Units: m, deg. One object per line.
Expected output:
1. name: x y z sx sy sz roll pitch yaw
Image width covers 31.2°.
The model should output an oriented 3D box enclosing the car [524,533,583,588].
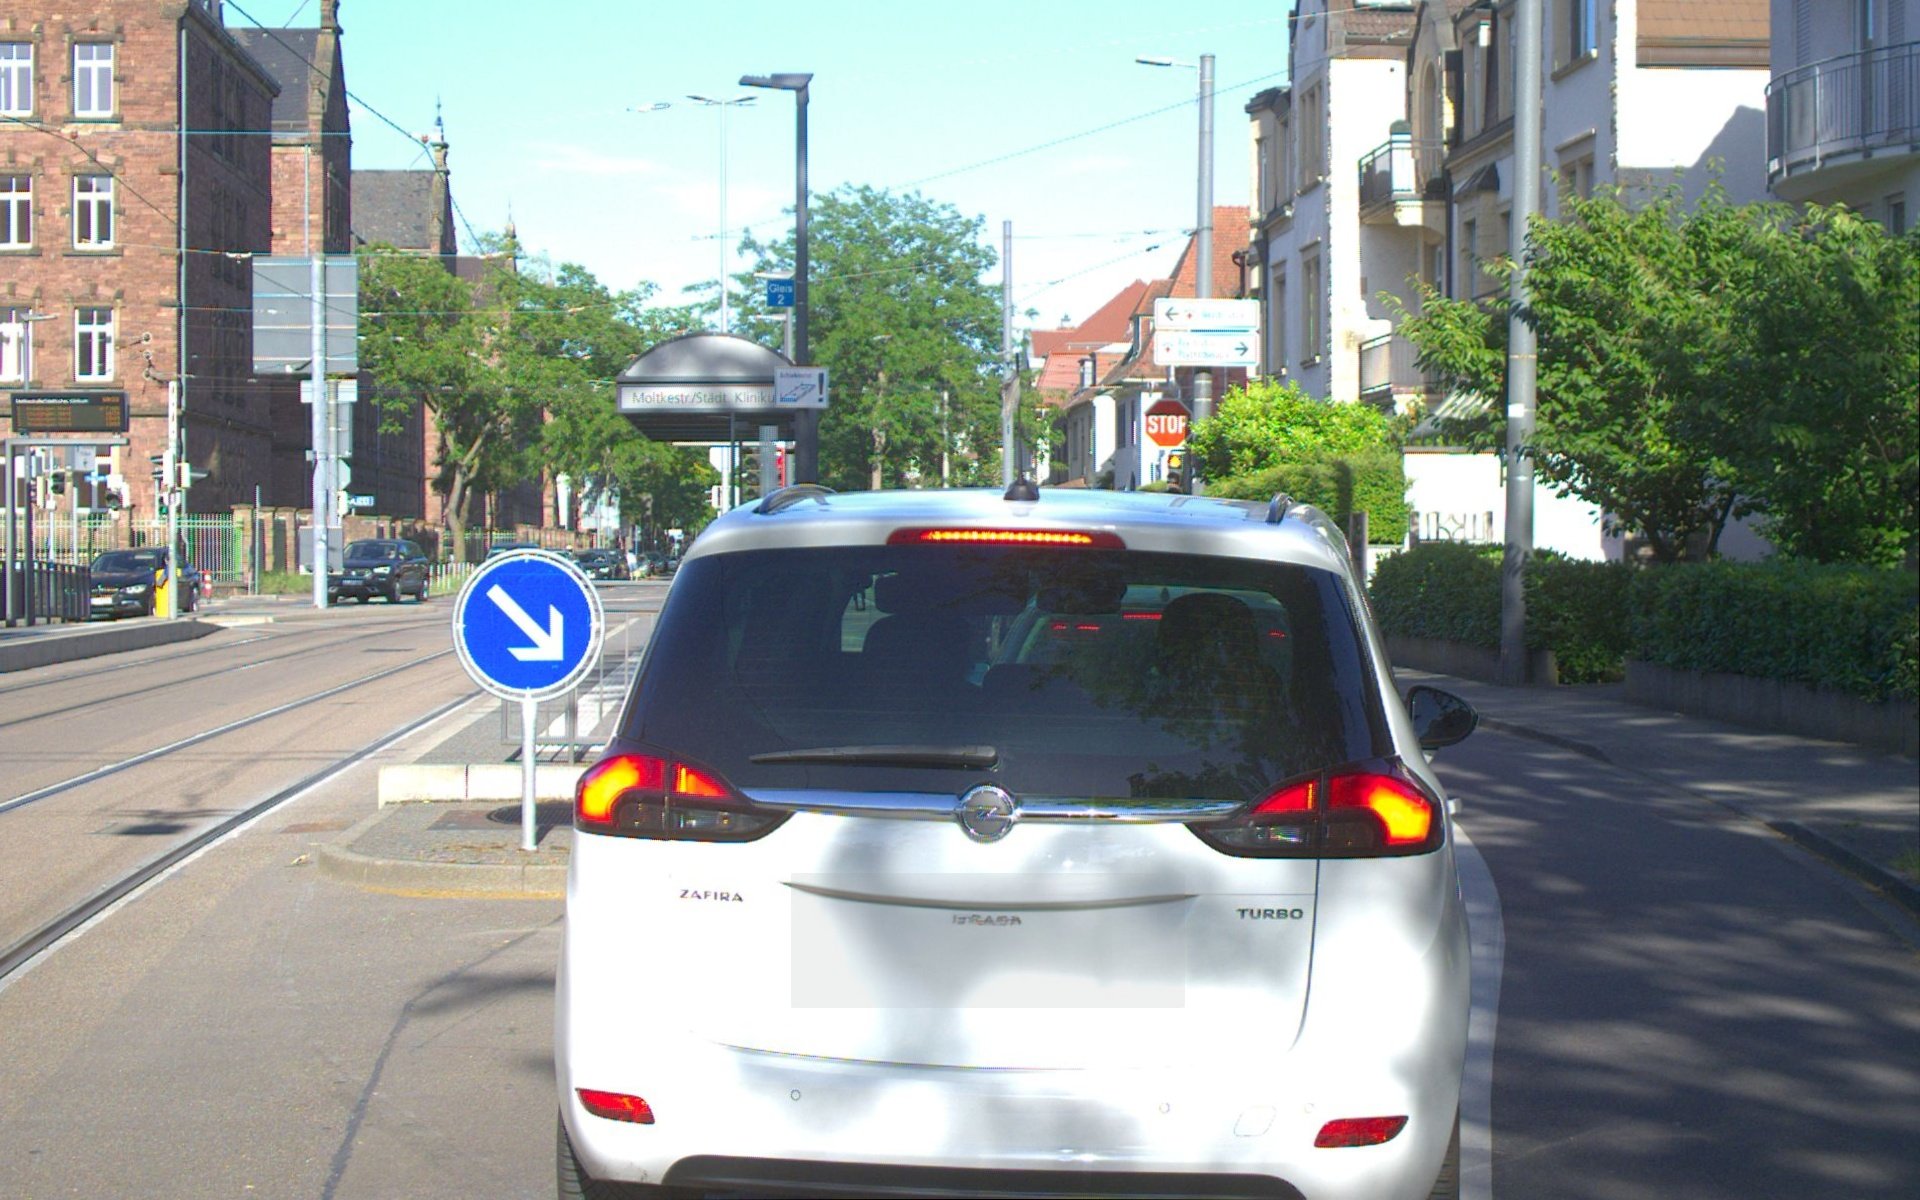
1. car: -13.341 -1.282 113.002 1.826 1.782 4.328 1 0 -6

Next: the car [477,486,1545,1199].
1. car: 0.249 0.563 8.086 1.878 1.579 3.999 1 1 5

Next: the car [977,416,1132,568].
1. car: 1.057 -1.279 40.142 1.596 1.629 3.902 2 2 -1

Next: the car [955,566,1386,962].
1. car: 0.950 0.592 14.783 1.569 1.396 3.783 2 1 5

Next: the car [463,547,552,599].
1. car: -12.973 -0.761 98.743 1.827 1.441 4.327 1 0 2

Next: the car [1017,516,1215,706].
1. car: 1.422 0.064 32.559 1.596 1.629 3.901 2 1 -1

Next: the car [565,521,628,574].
1. car: -14.146 -2.046 133.939 1.993 2.007 4.000 0 1 1

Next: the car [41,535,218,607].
1. car: -16.617 -0.609 69.015 1.799 1.377 4.493 0 1 10

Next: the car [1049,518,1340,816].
1. car: 1.468 0.334 21.032 1.569 1.609 3.783 2 1 5

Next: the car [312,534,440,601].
1. car: -14.496 -0.804 85.542 1.827 1.611 4.326 1 0 9
